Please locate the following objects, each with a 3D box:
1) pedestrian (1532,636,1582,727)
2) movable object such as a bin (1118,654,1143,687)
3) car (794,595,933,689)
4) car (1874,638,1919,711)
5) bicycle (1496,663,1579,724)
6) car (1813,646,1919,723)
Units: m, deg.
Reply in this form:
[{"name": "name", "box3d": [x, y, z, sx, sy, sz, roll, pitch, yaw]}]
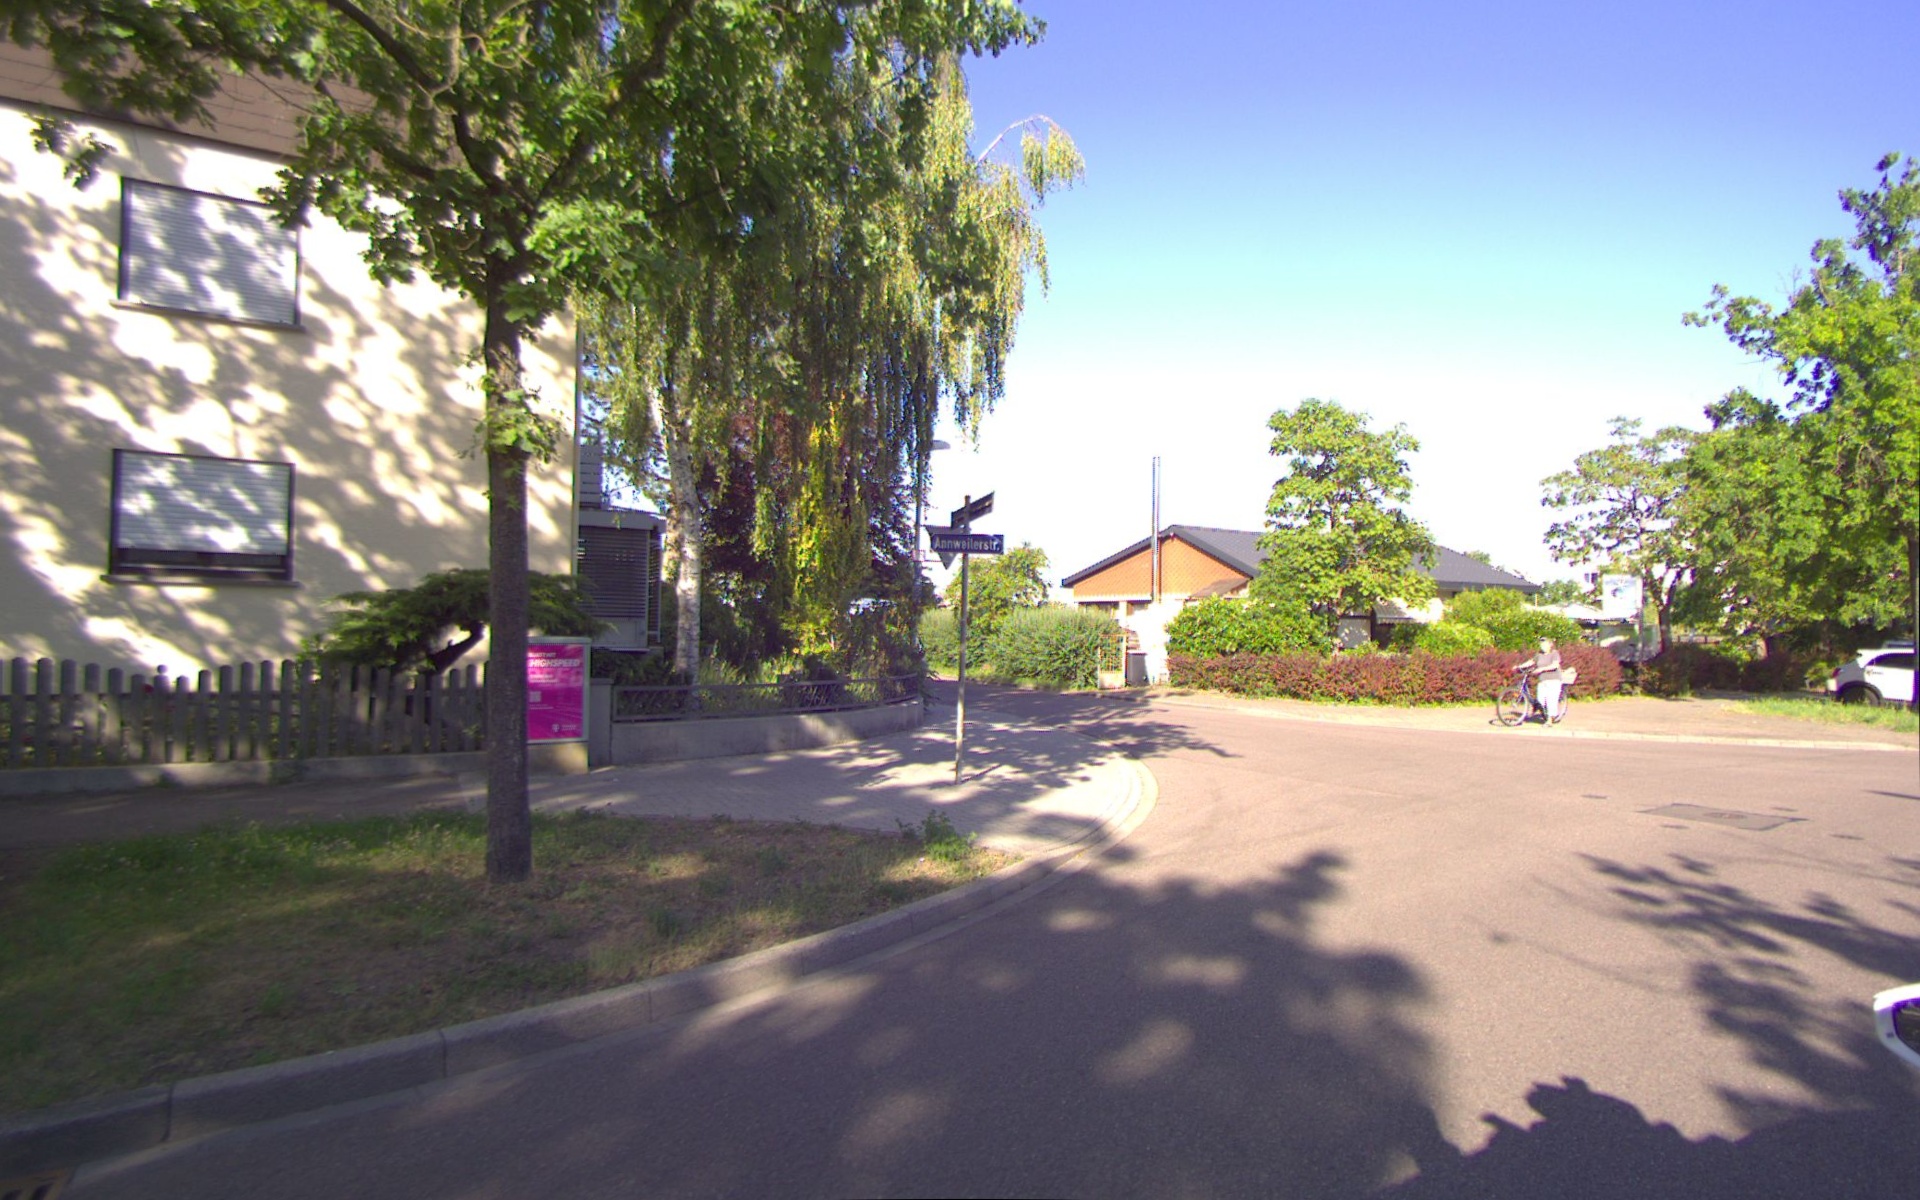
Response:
[{"name": "pedestrian", "box3d": [10.688, 1.450, 17.983, 0.791, 1.577, 0.439, 3, -2, -30]}, {"name": "movable object such as a bin", "box3d": [5.008, 2.080, 29.568, 0.492, 0.949, 0.612, 1, -1, -18]}, {"name": "car", "box3d": [-2.851, 1.156, 28.325, 1.974, 2.380, 5.597, 3, -2, -27]}, {"name": "car", "box3d": [26.327, 1.954, 25.709, 1.876, 1.864, 3.994, 2, -2, -32]}, {"name": "bicycle", "box3d": [10.621, 1.702, 18.453, 1.870, 1.053, 0.445, 1, -1, -29]}, {"name": "car", "box3d": [22.048, 1.922, 22.448, 1.876, 1.644, 4.219, 3, -2, -32]}]
